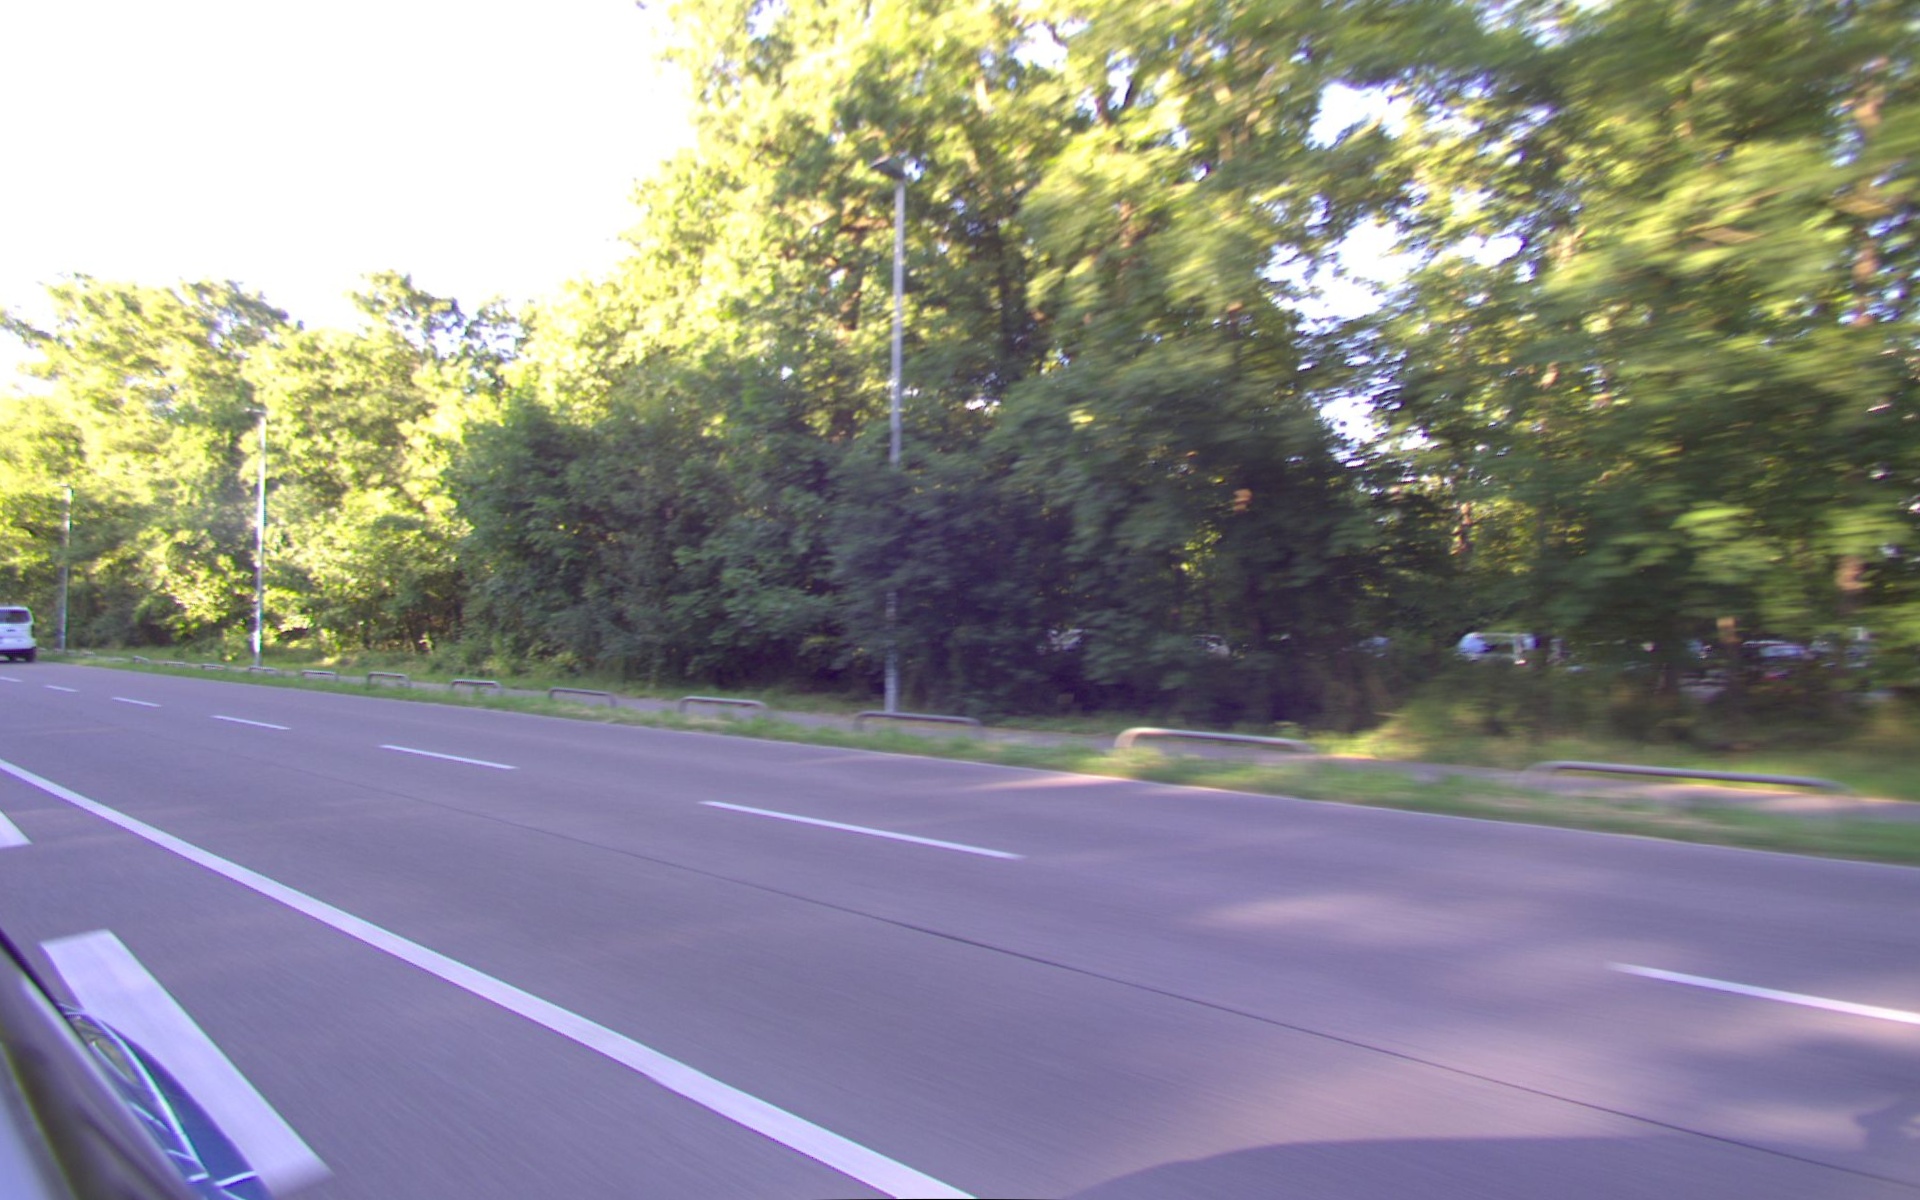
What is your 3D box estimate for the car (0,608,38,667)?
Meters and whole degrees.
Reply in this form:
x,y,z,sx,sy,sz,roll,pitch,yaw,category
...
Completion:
x,y,z,sx,sy,sz,roll,pitch,yaw,category
-35.139,1.320,36.484,4.990,2.007,1.975,-1,-1,38,car
